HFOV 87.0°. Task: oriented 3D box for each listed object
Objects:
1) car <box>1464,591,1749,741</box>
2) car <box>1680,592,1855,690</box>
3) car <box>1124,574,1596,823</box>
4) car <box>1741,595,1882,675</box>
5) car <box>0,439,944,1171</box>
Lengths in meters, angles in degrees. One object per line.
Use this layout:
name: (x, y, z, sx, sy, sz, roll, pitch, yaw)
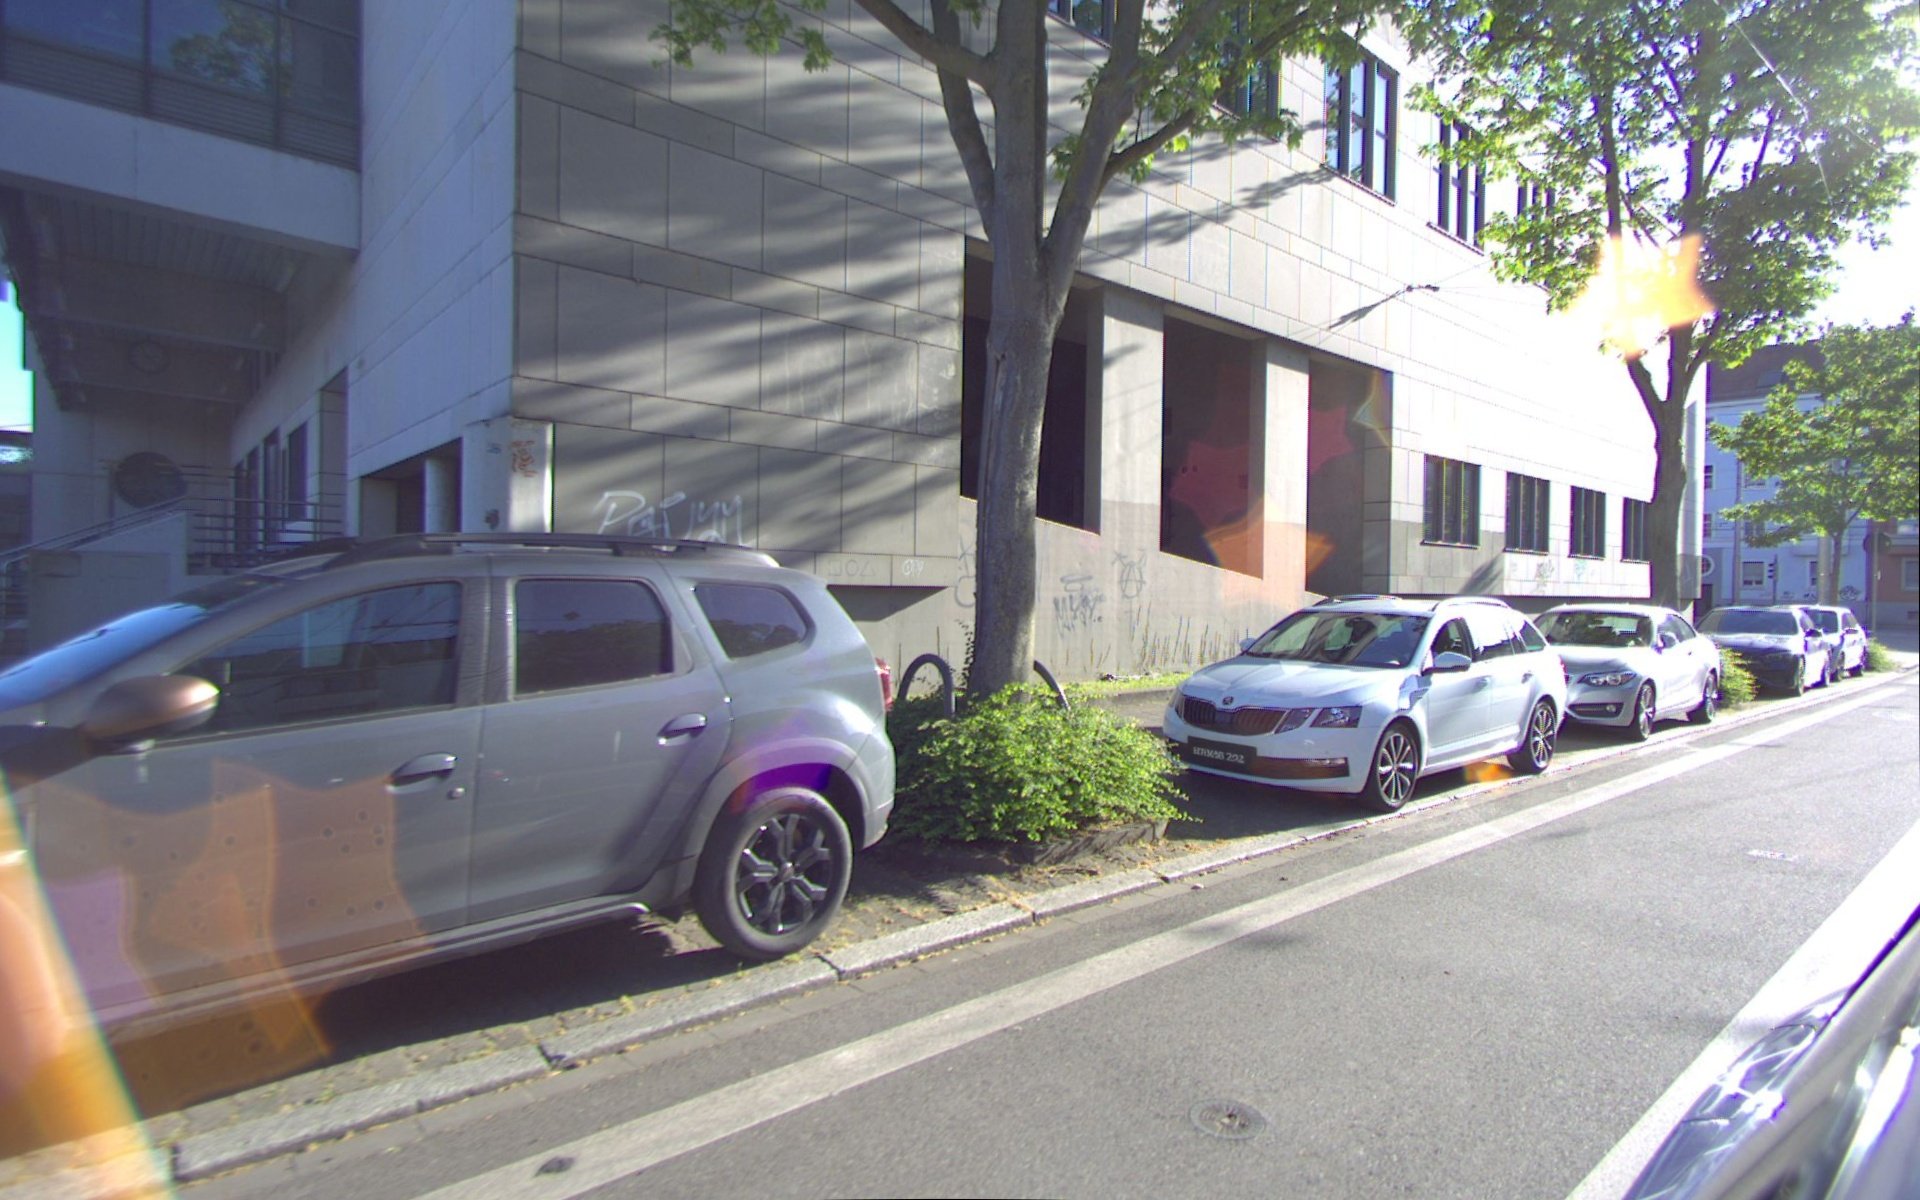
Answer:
car: (7.882, 0.647, 12.185, 4.253, 1.425, 1.712, -1, 3, -41)
car: (14.390, 0.626, 17.934, 4.582, 1.425, 1.680, -1, 3, -42)
car: (3.517, 0.612, 8.414, 4.542, 1.508, 1.716, 1, 2, -41)
car: (17.985, 0.666, 21.328, 3.930, 1.498, 1.653, -1, 0, -40)
car: (-2.187, 0.465, 3.676, 4.206, 1.733, 1.743, -1, 1, -43)
